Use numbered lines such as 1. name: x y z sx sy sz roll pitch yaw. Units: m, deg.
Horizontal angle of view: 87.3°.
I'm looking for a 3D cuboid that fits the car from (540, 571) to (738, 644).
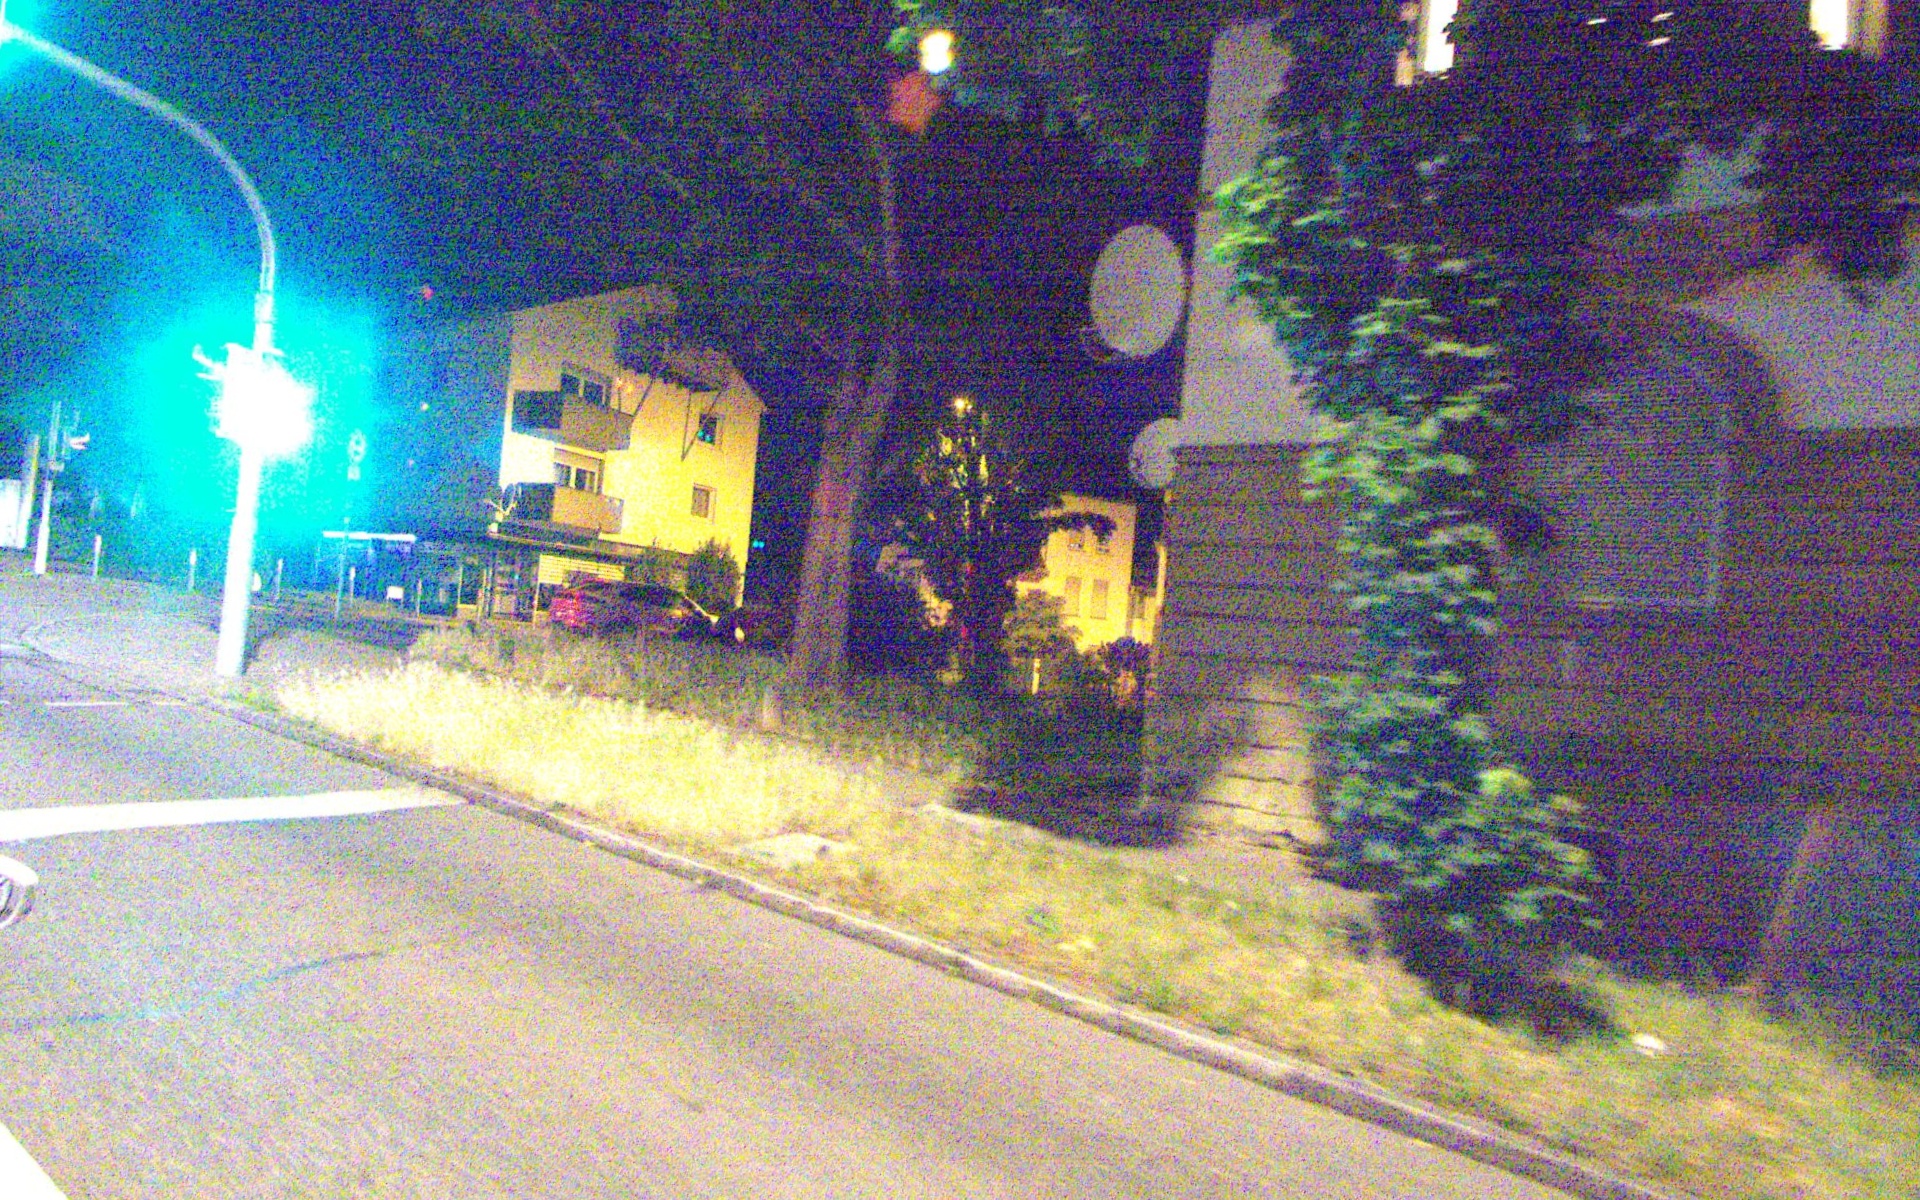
1. car: -7.483 0.214 23.774 1.740 1.296 4.127 6 0 39
